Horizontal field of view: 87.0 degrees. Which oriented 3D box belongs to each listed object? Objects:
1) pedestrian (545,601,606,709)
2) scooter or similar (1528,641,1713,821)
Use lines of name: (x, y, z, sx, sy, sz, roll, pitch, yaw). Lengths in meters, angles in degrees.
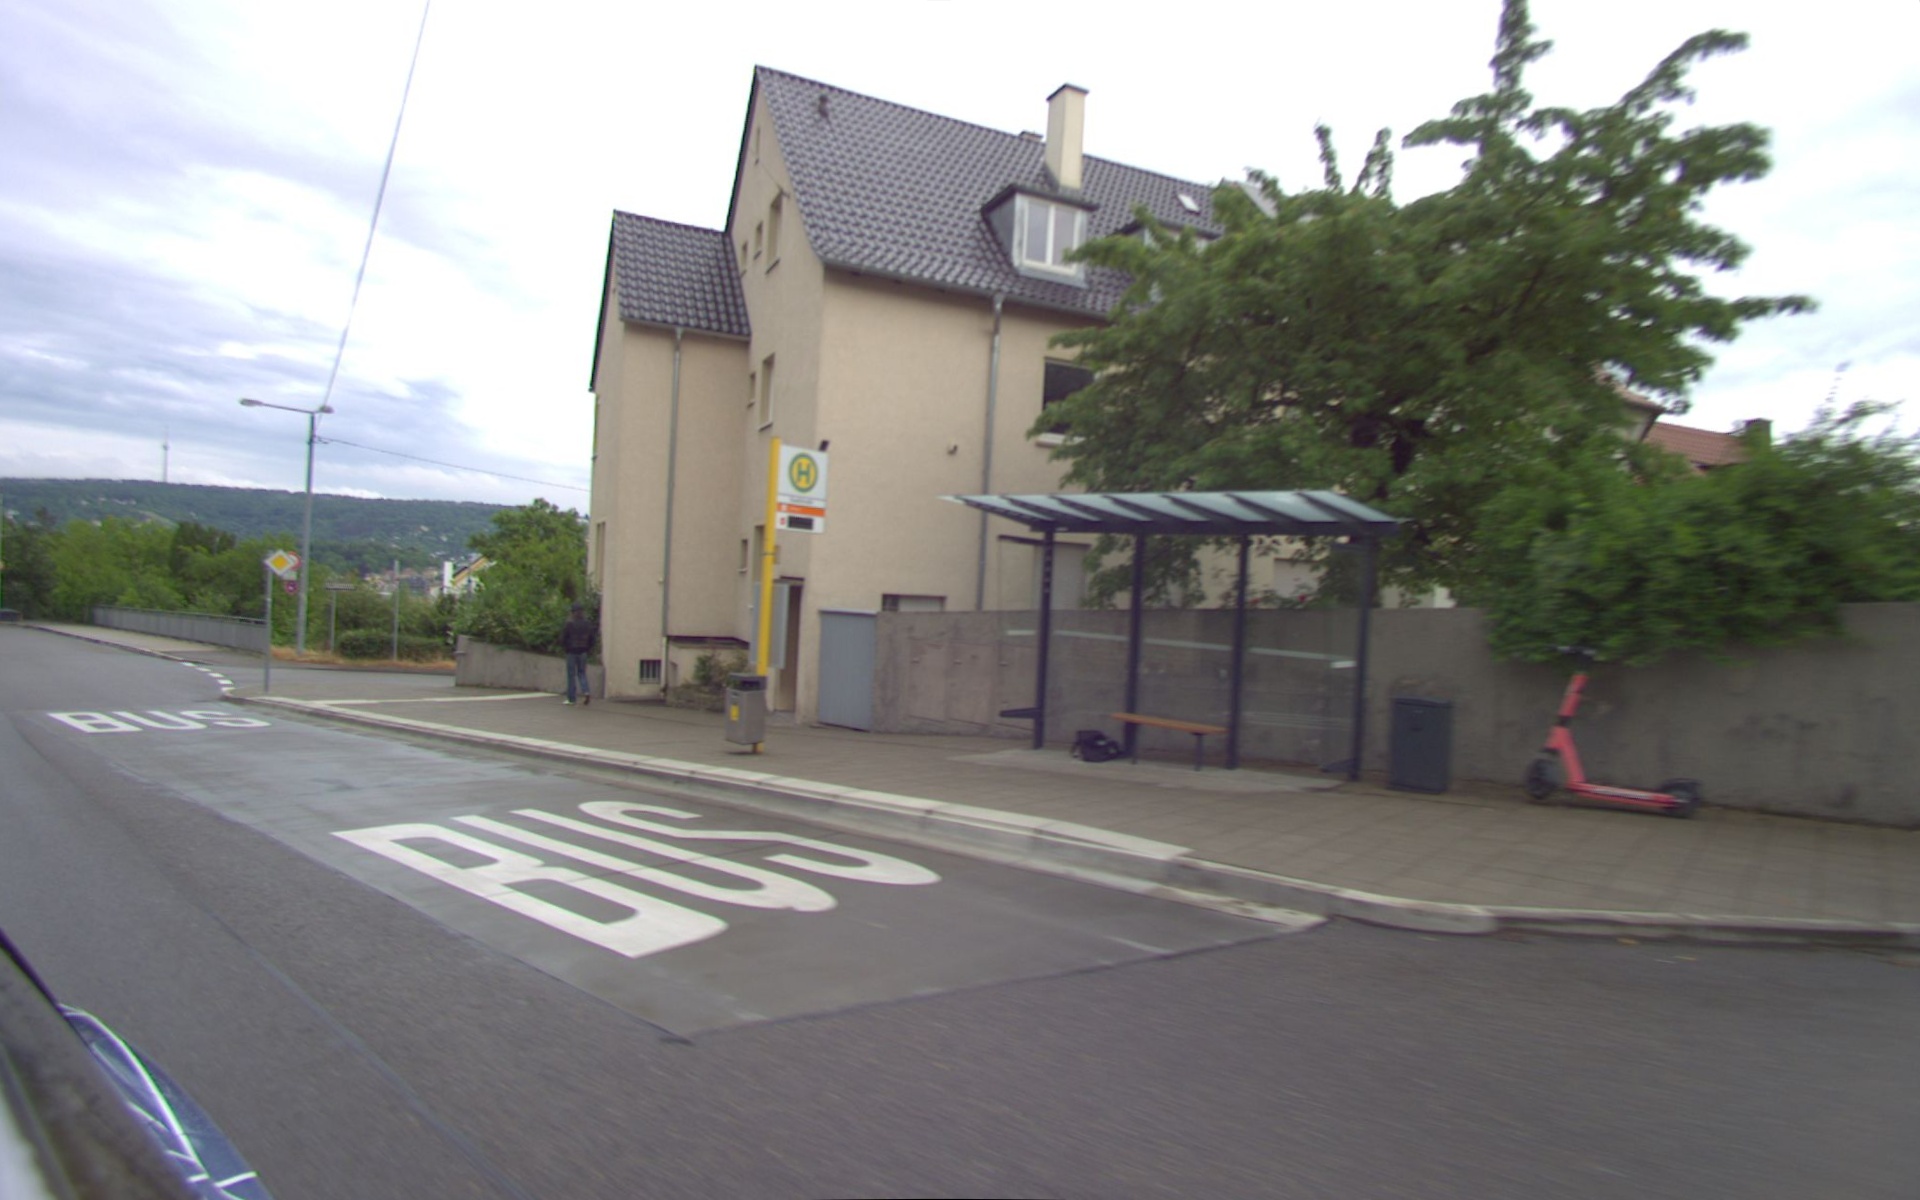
pedestrian: (-6.868, 0.956, 18.087, 0.728, 1.871, 0.778, 0, 0, 42)
scooter or similar: (4.934, 0.938, 7.597, 1.123, 1.229, 0.334, 0, -1, 43)
